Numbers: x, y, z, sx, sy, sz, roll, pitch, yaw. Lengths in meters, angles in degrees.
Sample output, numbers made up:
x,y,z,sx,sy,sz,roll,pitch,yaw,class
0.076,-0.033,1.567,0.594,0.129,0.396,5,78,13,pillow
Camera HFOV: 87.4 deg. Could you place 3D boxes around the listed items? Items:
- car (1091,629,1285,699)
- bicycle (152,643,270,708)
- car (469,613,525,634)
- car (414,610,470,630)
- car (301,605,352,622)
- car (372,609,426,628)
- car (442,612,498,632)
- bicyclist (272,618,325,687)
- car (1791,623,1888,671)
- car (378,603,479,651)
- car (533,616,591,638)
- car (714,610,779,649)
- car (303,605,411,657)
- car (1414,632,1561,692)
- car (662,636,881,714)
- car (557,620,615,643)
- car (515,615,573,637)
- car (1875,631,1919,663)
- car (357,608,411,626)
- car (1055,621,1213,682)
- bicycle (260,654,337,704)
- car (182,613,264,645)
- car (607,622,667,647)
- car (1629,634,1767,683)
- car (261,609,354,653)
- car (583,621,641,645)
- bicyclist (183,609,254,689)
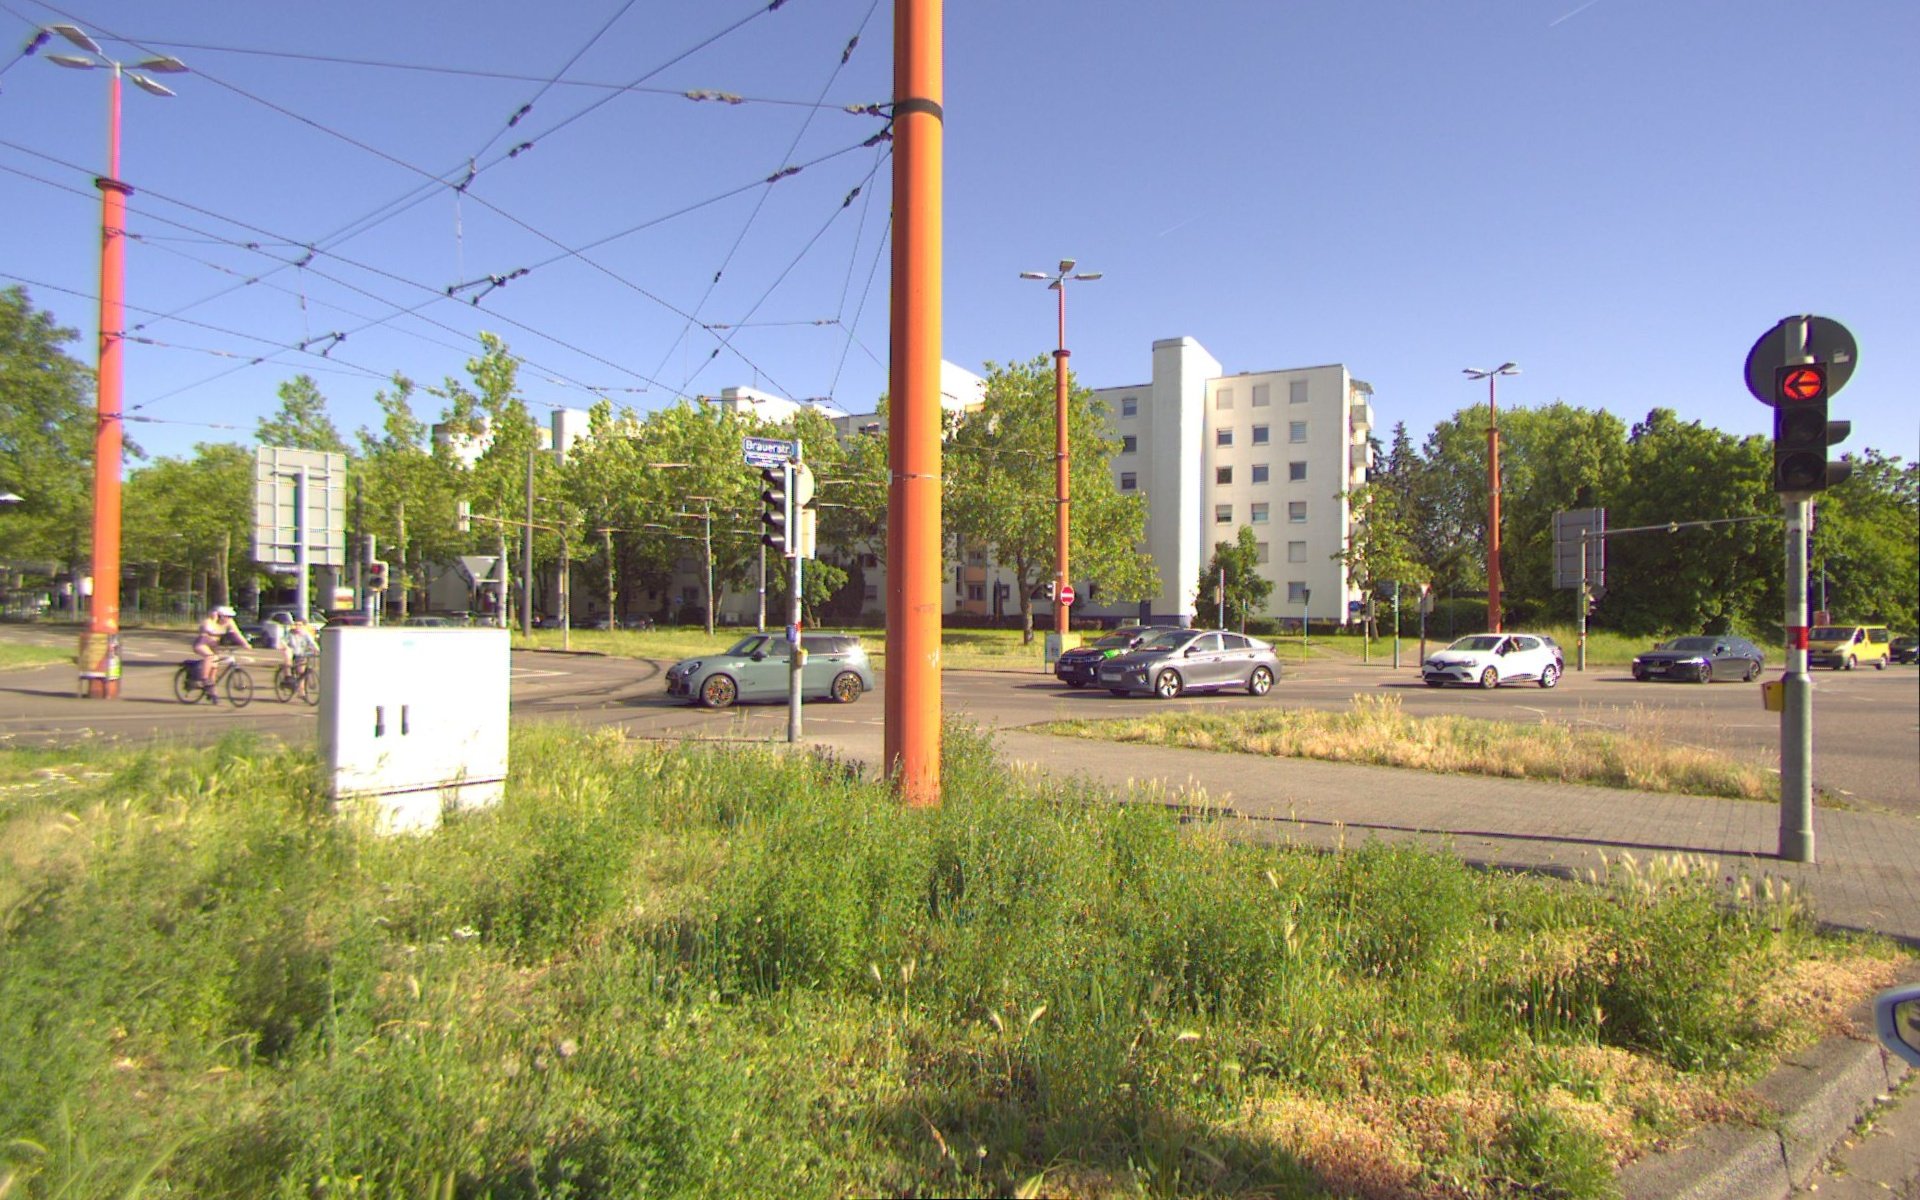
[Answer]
x,y,z,sx,sy,sz,roll,pitch,yaw,class
5.032,1.363,21.996,4.211,1.395,1.541,1,-1,-30,car
-14.135,1.415,18.948,2.313,1.095,0.474,1,0,17,bicycle
-38.563,1.923,83.772,3.934,1.617,1.890,2,0,-15,car
-45.132,1.774,87.630,3.934,1.617,1.890,2,0,-15,car
-63.540,1.380,100.836,3.934,1.617,1.890,2,0,-15,car
-50.997,1.644,91.393,3.934,1.617,1.890,2,0,-15,car
-41.762,1.850,85.654,3.934,1.617,1.890,2,0,-15,car
-13.159,1.035,19.993,0.686,1.340,0.549,1,0,17,bicyclist
39.230,2.095,44.771,4.730,2.013,1.750,2,0,-29,car
-23.117,1.146,43.682,4.200,1.926,1.996,1,0,31,car
-30.779,2.085,77.767,3.934,1.617,1.890,2,0,-15,car
-13.844,1.904,65.040,3.934,2.341,1.889,2,0,-15,car
-24.290,1.221,40.446,4.200,1.926,1.996,1,0,31,car
14.157,1.619,26.911,3.901,1.478,1.598,1,-1,-29,car
-3.773,1.479,20.274,4.088,1.406,1.424,2,0,-28,car
-28.137,2.355,75.680,3.934,1.617,1.890,2,0,-15,car
-32.859,2.042,79.411,3.934,1.617,1.890,2,0,-15,car
52.885,2.612,55.851,3.956,1.660,1.982,2,0,-32,car
-53.670,1.590,93.673,3.934,1.617,1.890,2,0,-15,car
4.431,1.306,25.436,3.838,1.452,1.538,2,-3,-29,car
-13.187,1.558,20.023,1.594,0.894,0.368,1,0,19,bicycle
-34.743,1.363,47.361,3.930,1.339,1.732,1,0,31,car
-23.185,2.462,72.240,3.934,1.617,1.890,2,0,-15,car
22.950,1.782,31.194,4.737,1.386,1.622,1,-1,-29,car
-28.818,1.343,44.334,3.929,1.773,1.909,1,0,31,car
-25.674,2.411,74.219,3.934,1.617,1.890,2,0,-15,car
-13.947,0.910,18.900,0.742,1.449,0.752,1,0,16,bicyclist
